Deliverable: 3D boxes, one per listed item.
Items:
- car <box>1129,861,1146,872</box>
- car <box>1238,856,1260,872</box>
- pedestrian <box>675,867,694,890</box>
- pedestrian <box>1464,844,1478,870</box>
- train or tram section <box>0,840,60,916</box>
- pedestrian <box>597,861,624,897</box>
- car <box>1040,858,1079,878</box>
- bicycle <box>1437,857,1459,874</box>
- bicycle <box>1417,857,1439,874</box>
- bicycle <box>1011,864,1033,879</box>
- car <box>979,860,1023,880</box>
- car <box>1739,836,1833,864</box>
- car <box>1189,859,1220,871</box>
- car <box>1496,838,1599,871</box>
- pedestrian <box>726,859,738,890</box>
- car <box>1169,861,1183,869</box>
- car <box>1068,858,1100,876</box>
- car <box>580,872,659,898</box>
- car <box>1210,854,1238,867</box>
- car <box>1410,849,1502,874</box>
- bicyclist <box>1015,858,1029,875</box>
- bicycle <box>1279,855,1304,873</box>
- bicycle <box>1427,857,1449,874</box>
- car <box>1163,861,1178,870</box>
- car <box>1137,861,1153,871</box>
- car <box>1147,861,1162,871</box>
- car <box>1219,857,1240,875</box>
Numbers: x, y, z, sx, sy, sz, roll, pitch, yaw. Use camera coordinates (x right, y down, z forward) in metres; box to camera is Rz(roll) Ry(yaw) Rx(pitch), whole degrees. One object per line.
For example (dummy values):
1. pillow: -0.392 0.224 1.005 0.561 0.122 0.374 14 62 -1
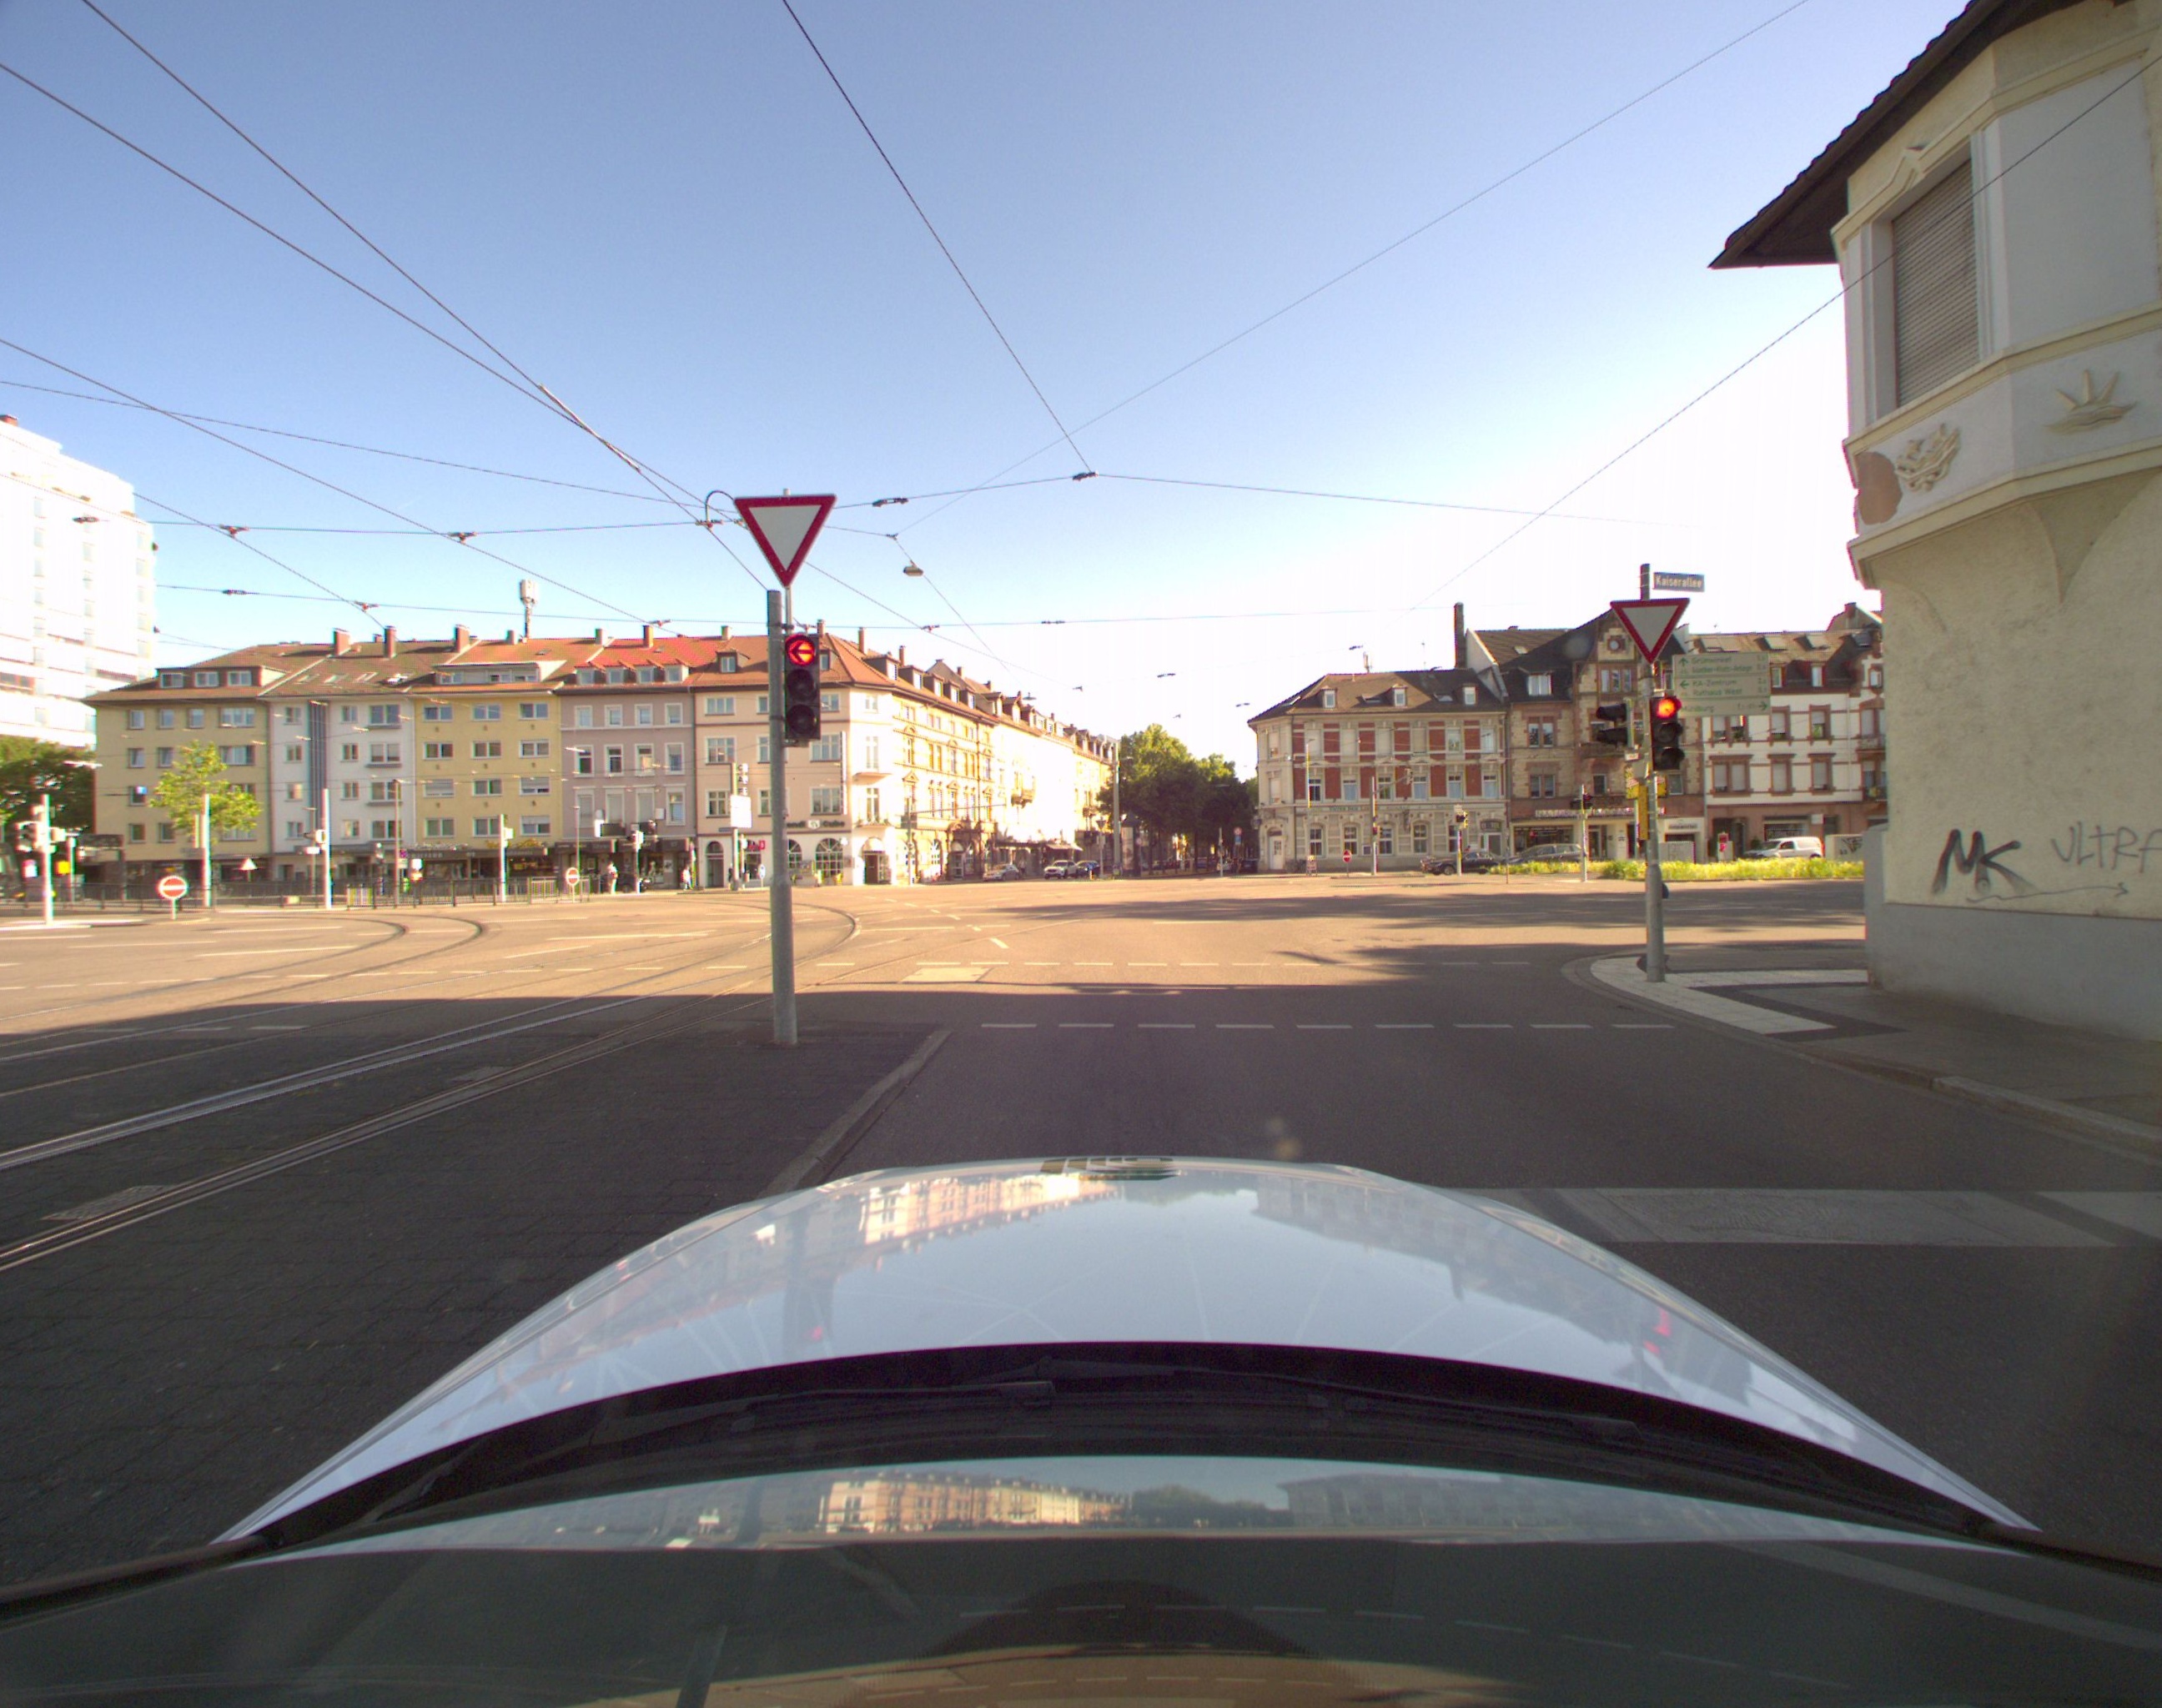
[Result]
1. car: 7.606 1.654 110.004 1.729 1.397 4.137 1 0 12
2. car: 16.908 0.993 82.053 1.637 1.524 3.772 -2 -1 20
3. pedestrian: -27.572 1.697 56.635 0.787 1.527 0.860 -1 0 2
4. pedestrian: 26.873 0.200 56.094 0.705 1.751 0.421 -1 0 3
5. train or tram section: -58.478 1.323 38.369 16.478 3.570 3.313 -1 0 0
6. pedestrian: -24.567 1.309 42.557 0.871 1.818 0.811 -1 0 2
7. car: -1.727 1.163 67.371 2.080 1.499 4.017 -2 0 16
8. bicycle: 23.816 0.730 52.871 0.603 1.051 1.641 -1 0 -3
9. bicycle: 22.499 0.739 52.841 0.603 1.051 1.641 -1 0 -3
10. bicycle: -4.766 1.431 65.901 0.745 1.135 2.821 -1 0 16
11. car: -6.595 1.304 67.701 2.080 1.545 4.382 -2 0 16
12. car: 45.387 -0.232 52.474 4.356 1.654 1.999 -1 0 -2
13. car: 17.489 1.530 114.994 4.078 1.646 1.754 1 0 17
14. car: 25.496 0.015 44.620 4.494 1.672 2.000 -1 0 1
15. pedestrian: -22.775 1.357 53.123 0.506 2.013 0.505 -1 0 5
16. car: 15.868 1.840 136.205 1.728 1.397 4.141 1 0 16
17. car: 0.294 1.152 73.694 1.979 1.513 4.015 -1 0 14
18. car: -30.271 1.991 53.534 3.978 1.464 1.998 -2 0 -4
19. car: 23.376 1.092 133.073 4.074 1.919 1.756 1 0 23
20. car: 21.987 0.432 47.842 4.496 1.341 2.000 -1 0 0
21. bicyclist: -4.763 0.987 65.872 0.787 1.375 1.113 -1 0 16
22. bicycle: 14.699 0.691 56.941 1.625 1.222 0.609 -1 0 18
23. bicycle: 23.152 0.735 52.871 0.603 1.051 1.641 -1 0 -3
24. car: 14.444 1.816 131.458 1.728 1.397 4.141 1 0 16
25. car: 9.180 1.690 115.774 1.729 1.397 4.137 1 0 12
26. car: 11.067 1.733 122.710 1.729 1.397 4.137 1 0 12
27. car: 16.034 1.275 87.710 1.661 1.756 3.776 -2 0 18
